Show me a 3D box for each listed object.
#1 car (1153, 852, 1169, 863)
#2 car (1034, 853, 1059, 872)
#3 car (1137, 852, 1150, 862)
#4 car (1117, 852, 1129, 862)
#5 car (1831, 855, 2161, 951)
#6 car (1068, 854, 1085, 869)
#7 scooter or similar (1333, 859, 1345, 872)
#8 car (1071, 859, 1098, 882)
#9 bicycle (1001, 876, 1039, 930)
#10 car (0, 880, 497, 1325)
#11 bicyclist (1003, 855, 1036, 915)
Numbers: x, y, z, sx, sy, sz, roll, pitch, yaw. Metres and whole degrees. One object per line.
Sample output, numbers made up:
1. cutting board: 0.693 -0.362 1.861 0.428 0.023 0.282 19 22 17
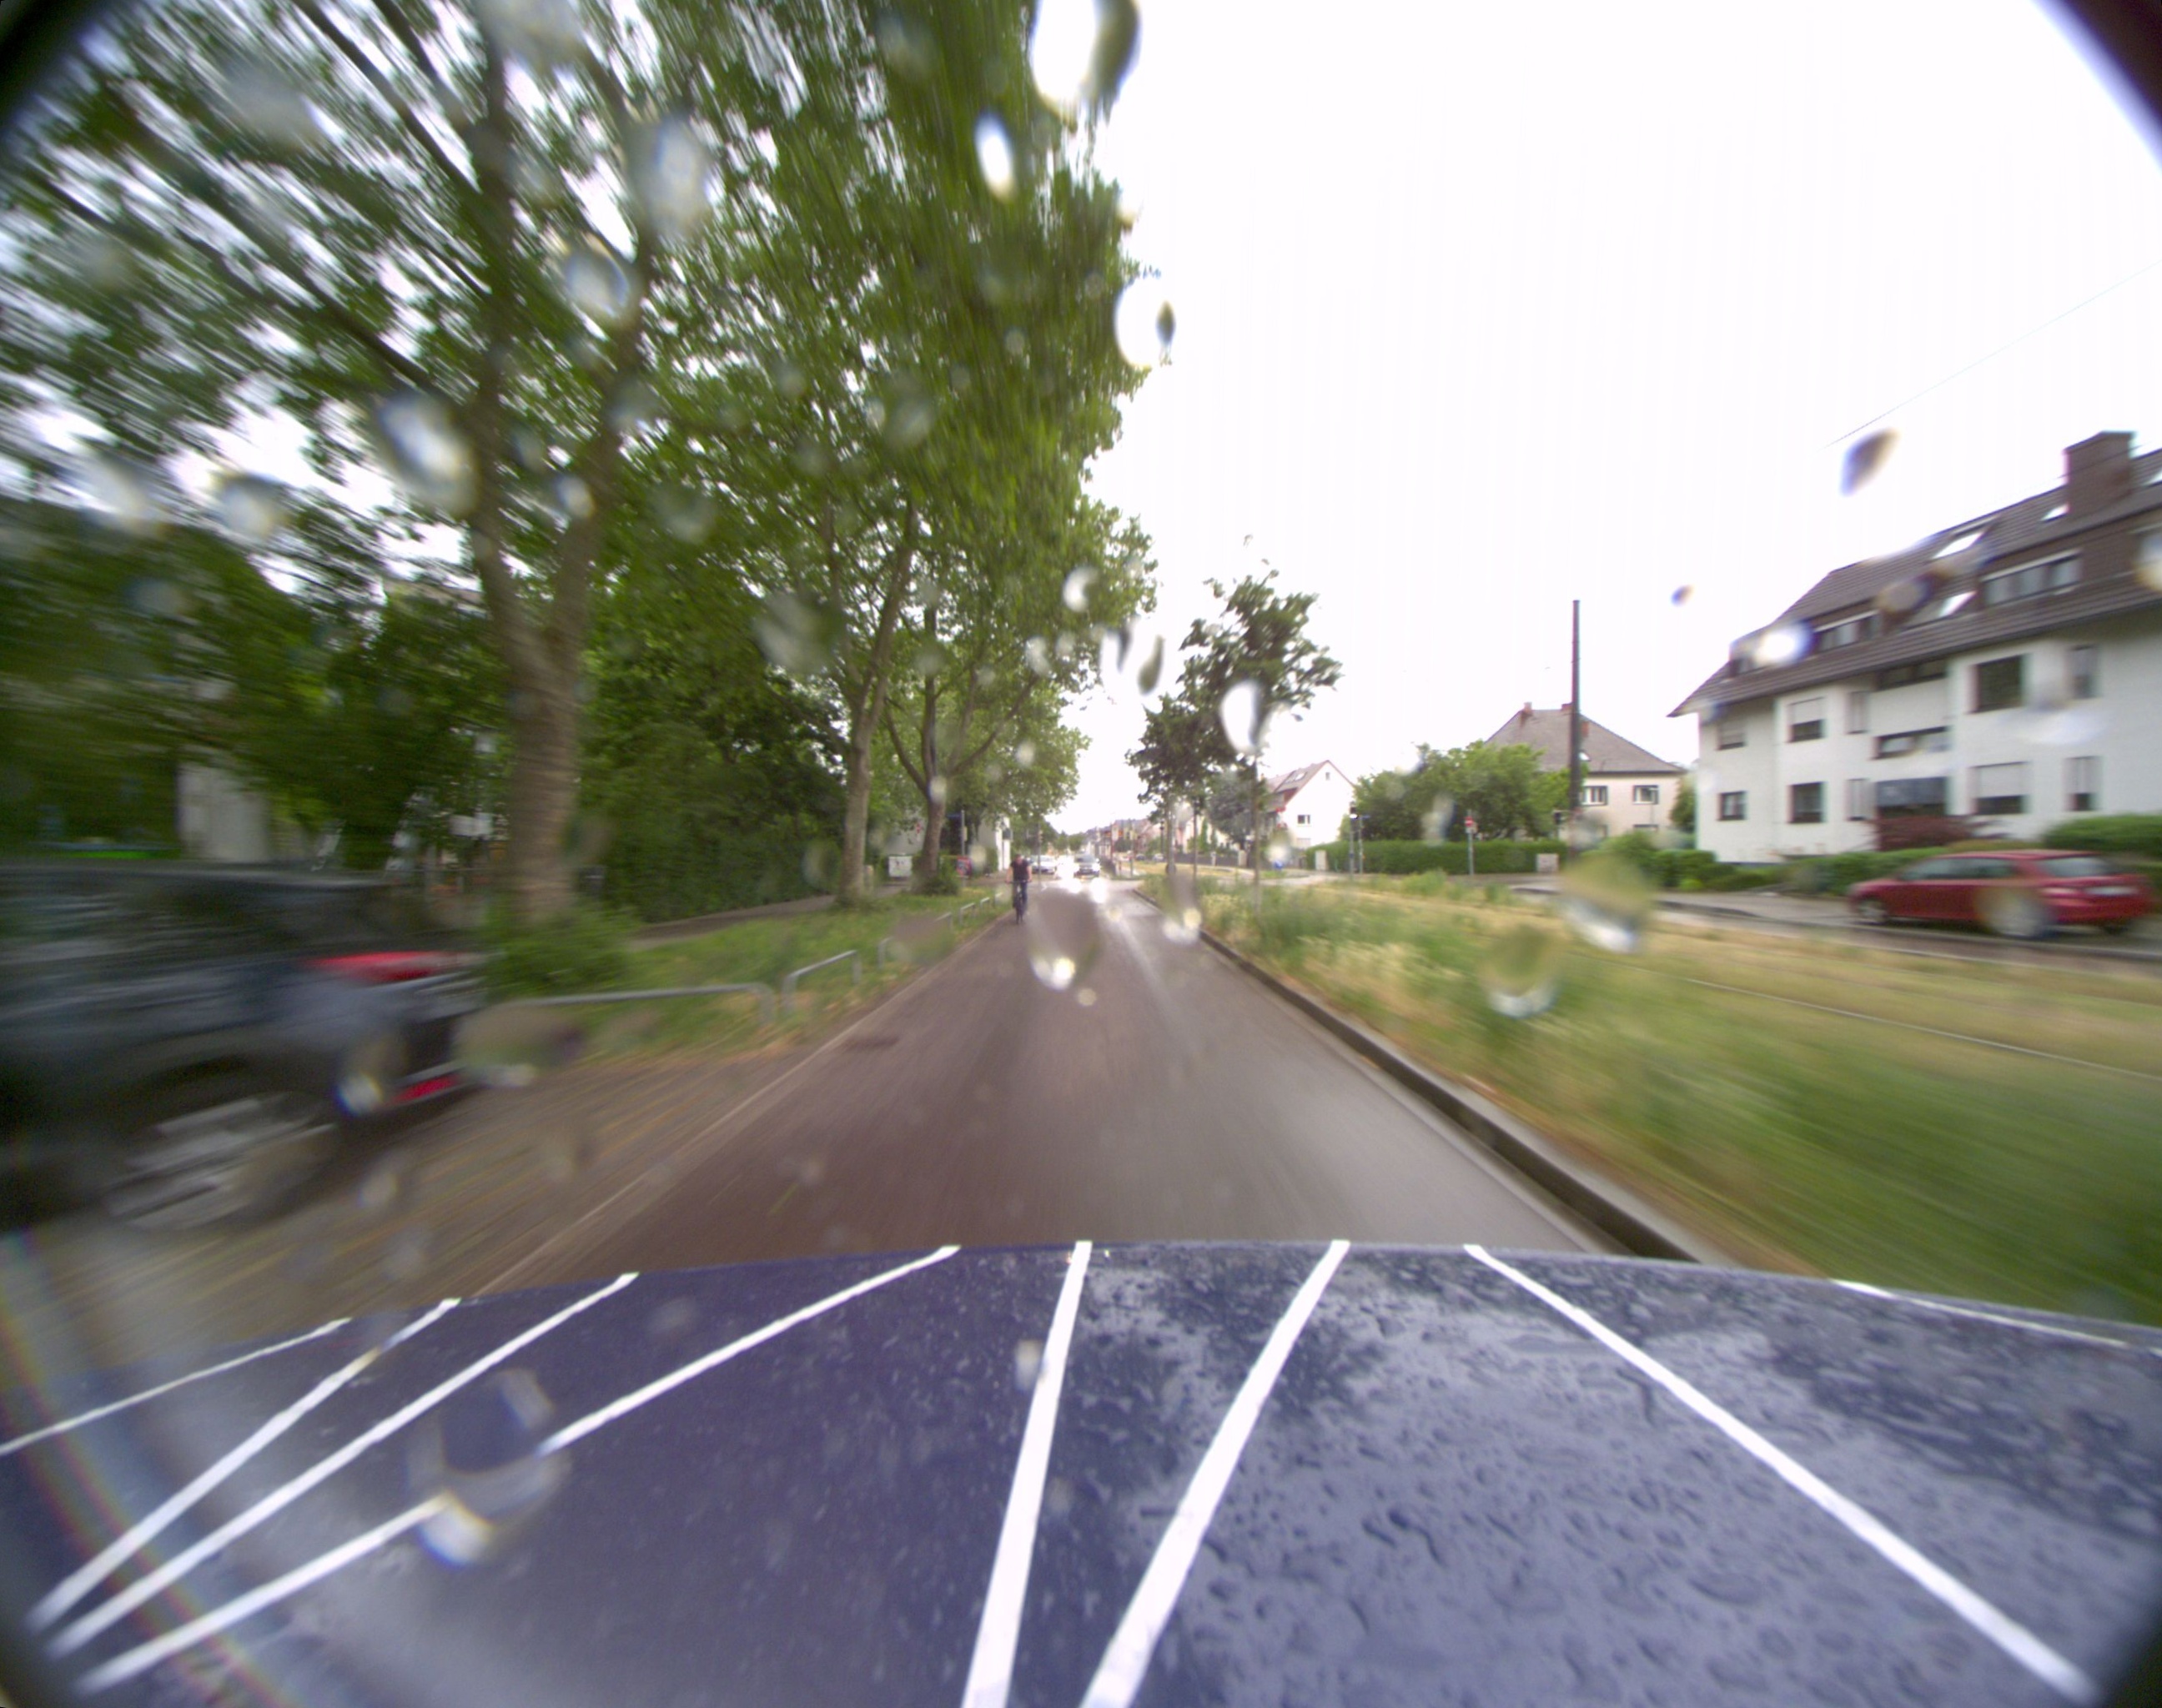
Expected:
1. car: 14.033 0.631 133.426 1.999 2.002 3.998 0 0 -5
2. car: -2.793 0.644 62.070 1.780 1.477 4.000 2 0 0
3. car: 12.668 0.616 154.793 2.000 2.002 3.997 0 0 -6
4. car: 8.624 0.571 155.687 1.999 2.002 3.998 0 0 -5
5. car: 16.736 0.786 14.088 1.802 1.448 4.001 -3 0 3
6. car: -0.476 0.779 81.920 1.780 1.477 4.000 2 0 0
7. scooter or similar: 18.448 0.787 54.336 0.347 0.905 1.258 0 0 -4
8. car: 0.223 1.129 52.839 1.780 1.477 4.000 2 0 0
9. bicycle: -1.481 1.174 18.829 0.675 1.136 2.445 -4 1 -1
10. car: -4.939 0.909 3.140 3.811 1.524 1.878 1 0 -31
11. bicyclist: -1.513 0.752 18.845 0.675 1.421 0.754 -4 1 0
